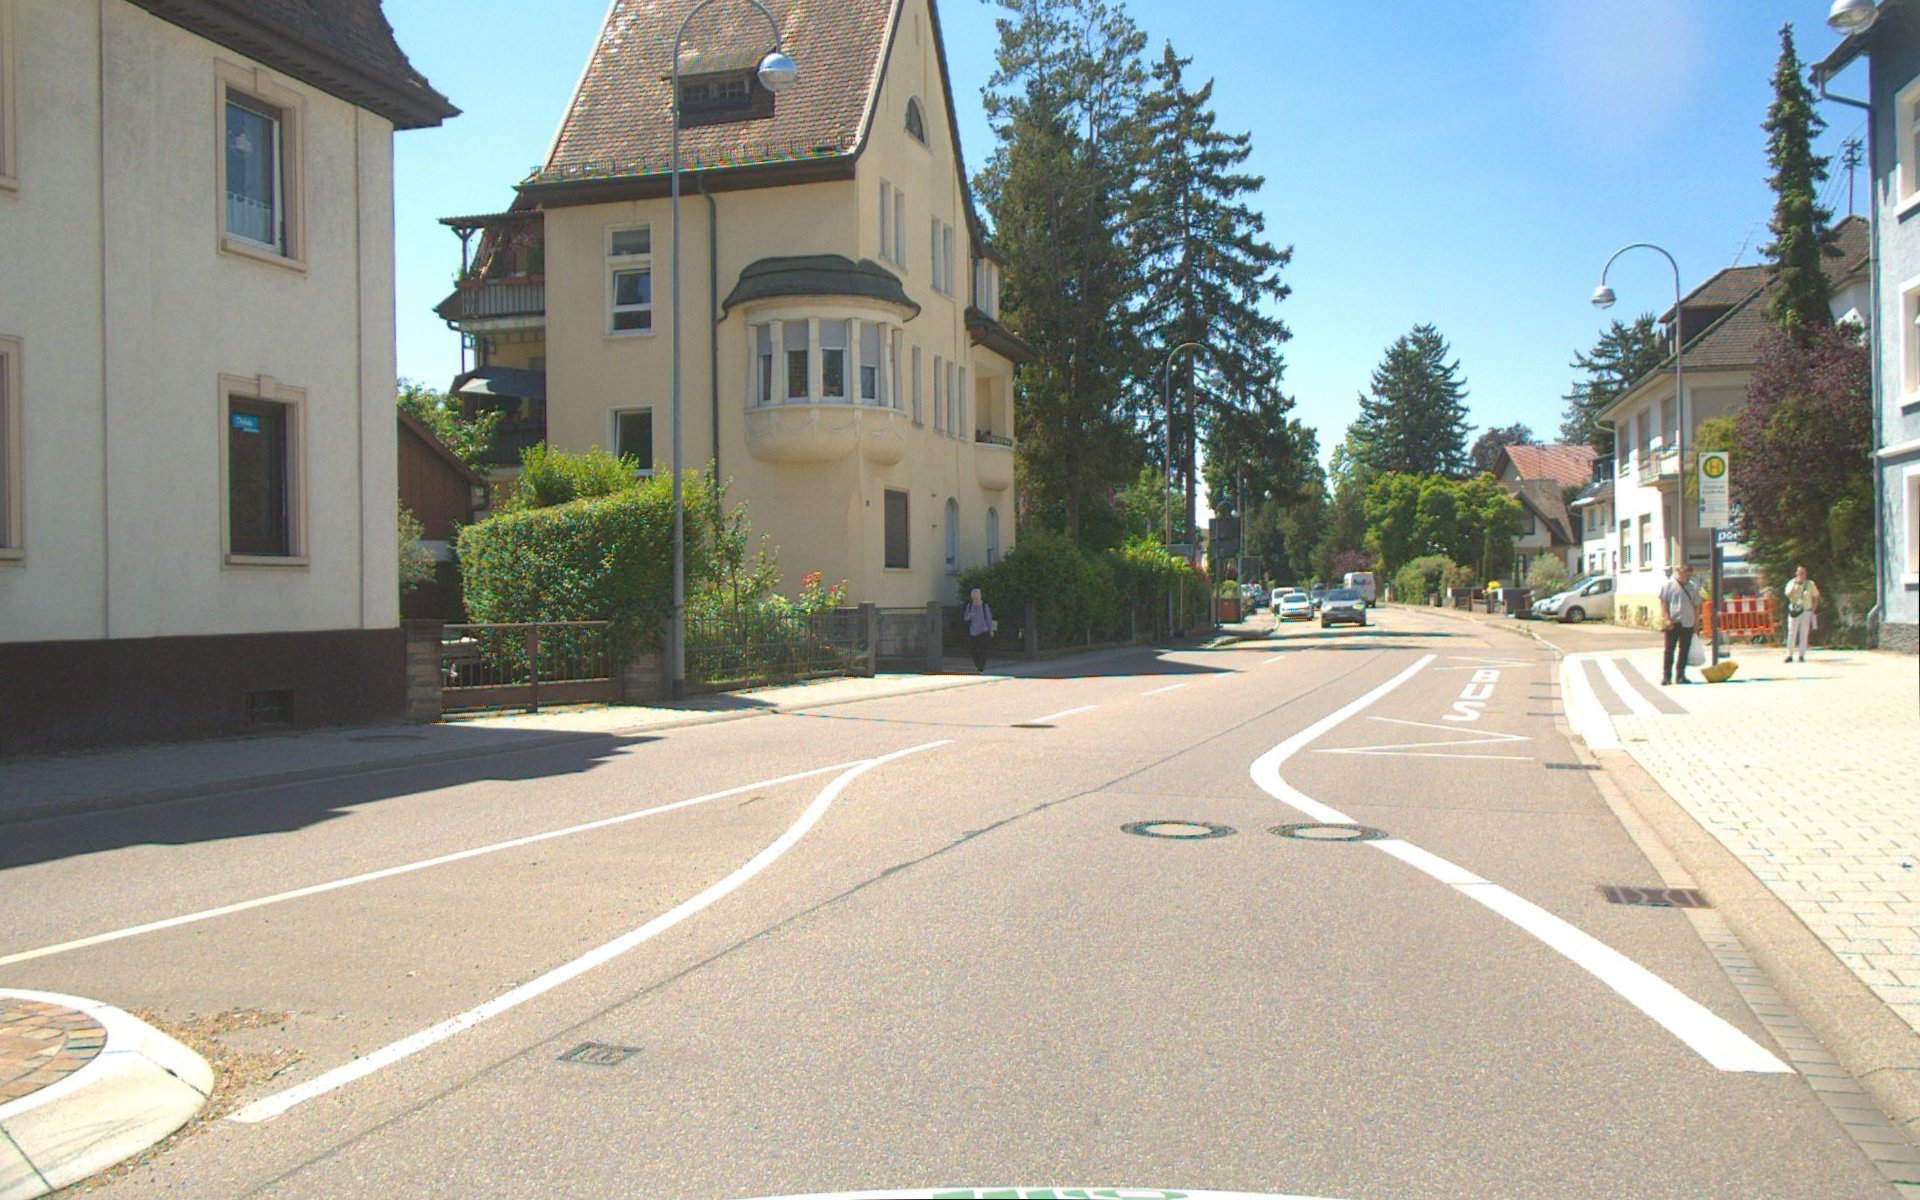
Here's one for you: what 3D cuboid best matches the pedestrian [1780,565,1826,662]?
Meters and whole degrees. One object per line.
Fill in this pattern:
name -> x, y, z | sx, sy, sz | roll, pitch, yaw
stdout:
pedestrian -> 14.782, 0.231, 28.999 | 0.602, 1.644, 0.749 | -3, -1, 29

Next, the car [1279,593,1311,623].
car -> 17.950, 0.432, 88.669 | 1.545, 1.448, 3.944 | -3, 0, 11

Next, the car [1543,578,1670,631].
car -> 24.863, 0.167, 63.715 | 4.200, 1.862, 1.740 | 2, 1, 4

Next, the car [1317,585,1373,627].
car -> 16.436, 0.218, 70.546 | 1.815, 1.644, 4.298 | -3, 0, 19

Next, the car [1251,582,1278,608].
car -> 21.727, -0.371, 118.083 | 1.686, 1.766, 3.890 | -3, 0, 9

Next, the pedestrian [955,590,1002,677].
pedestrian -> 0.360, 0.631, 31.777 | 0.600, 1.591, 0.825 | 4, 1, 17

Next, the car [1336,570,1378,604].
car -> 29.442, -0.960, 122.788 | 2.099, 2.356, 4.855 | -3, 0, 3

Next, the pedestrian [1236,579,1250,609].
pedestrian -> 18.931, -0.396, 110.652 | 0.675, 1.922, 1.019 | 4, 0, 14

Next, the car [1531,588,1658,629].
car -> 25.421, 0.311, 66.375 | 4.541, 1.433, 1.770 | 2, 1, 14

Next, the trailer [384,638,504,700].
trailer -> -8.238, 1.065, 26.301 | 1.339, 0.875, 2.791 | 0, 0, -28

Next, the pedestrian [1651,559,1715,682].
pedestrian -> 11.158, 0.318, 25.553 | 0.601, 1.836, 0.751 | -4, -2, 8
